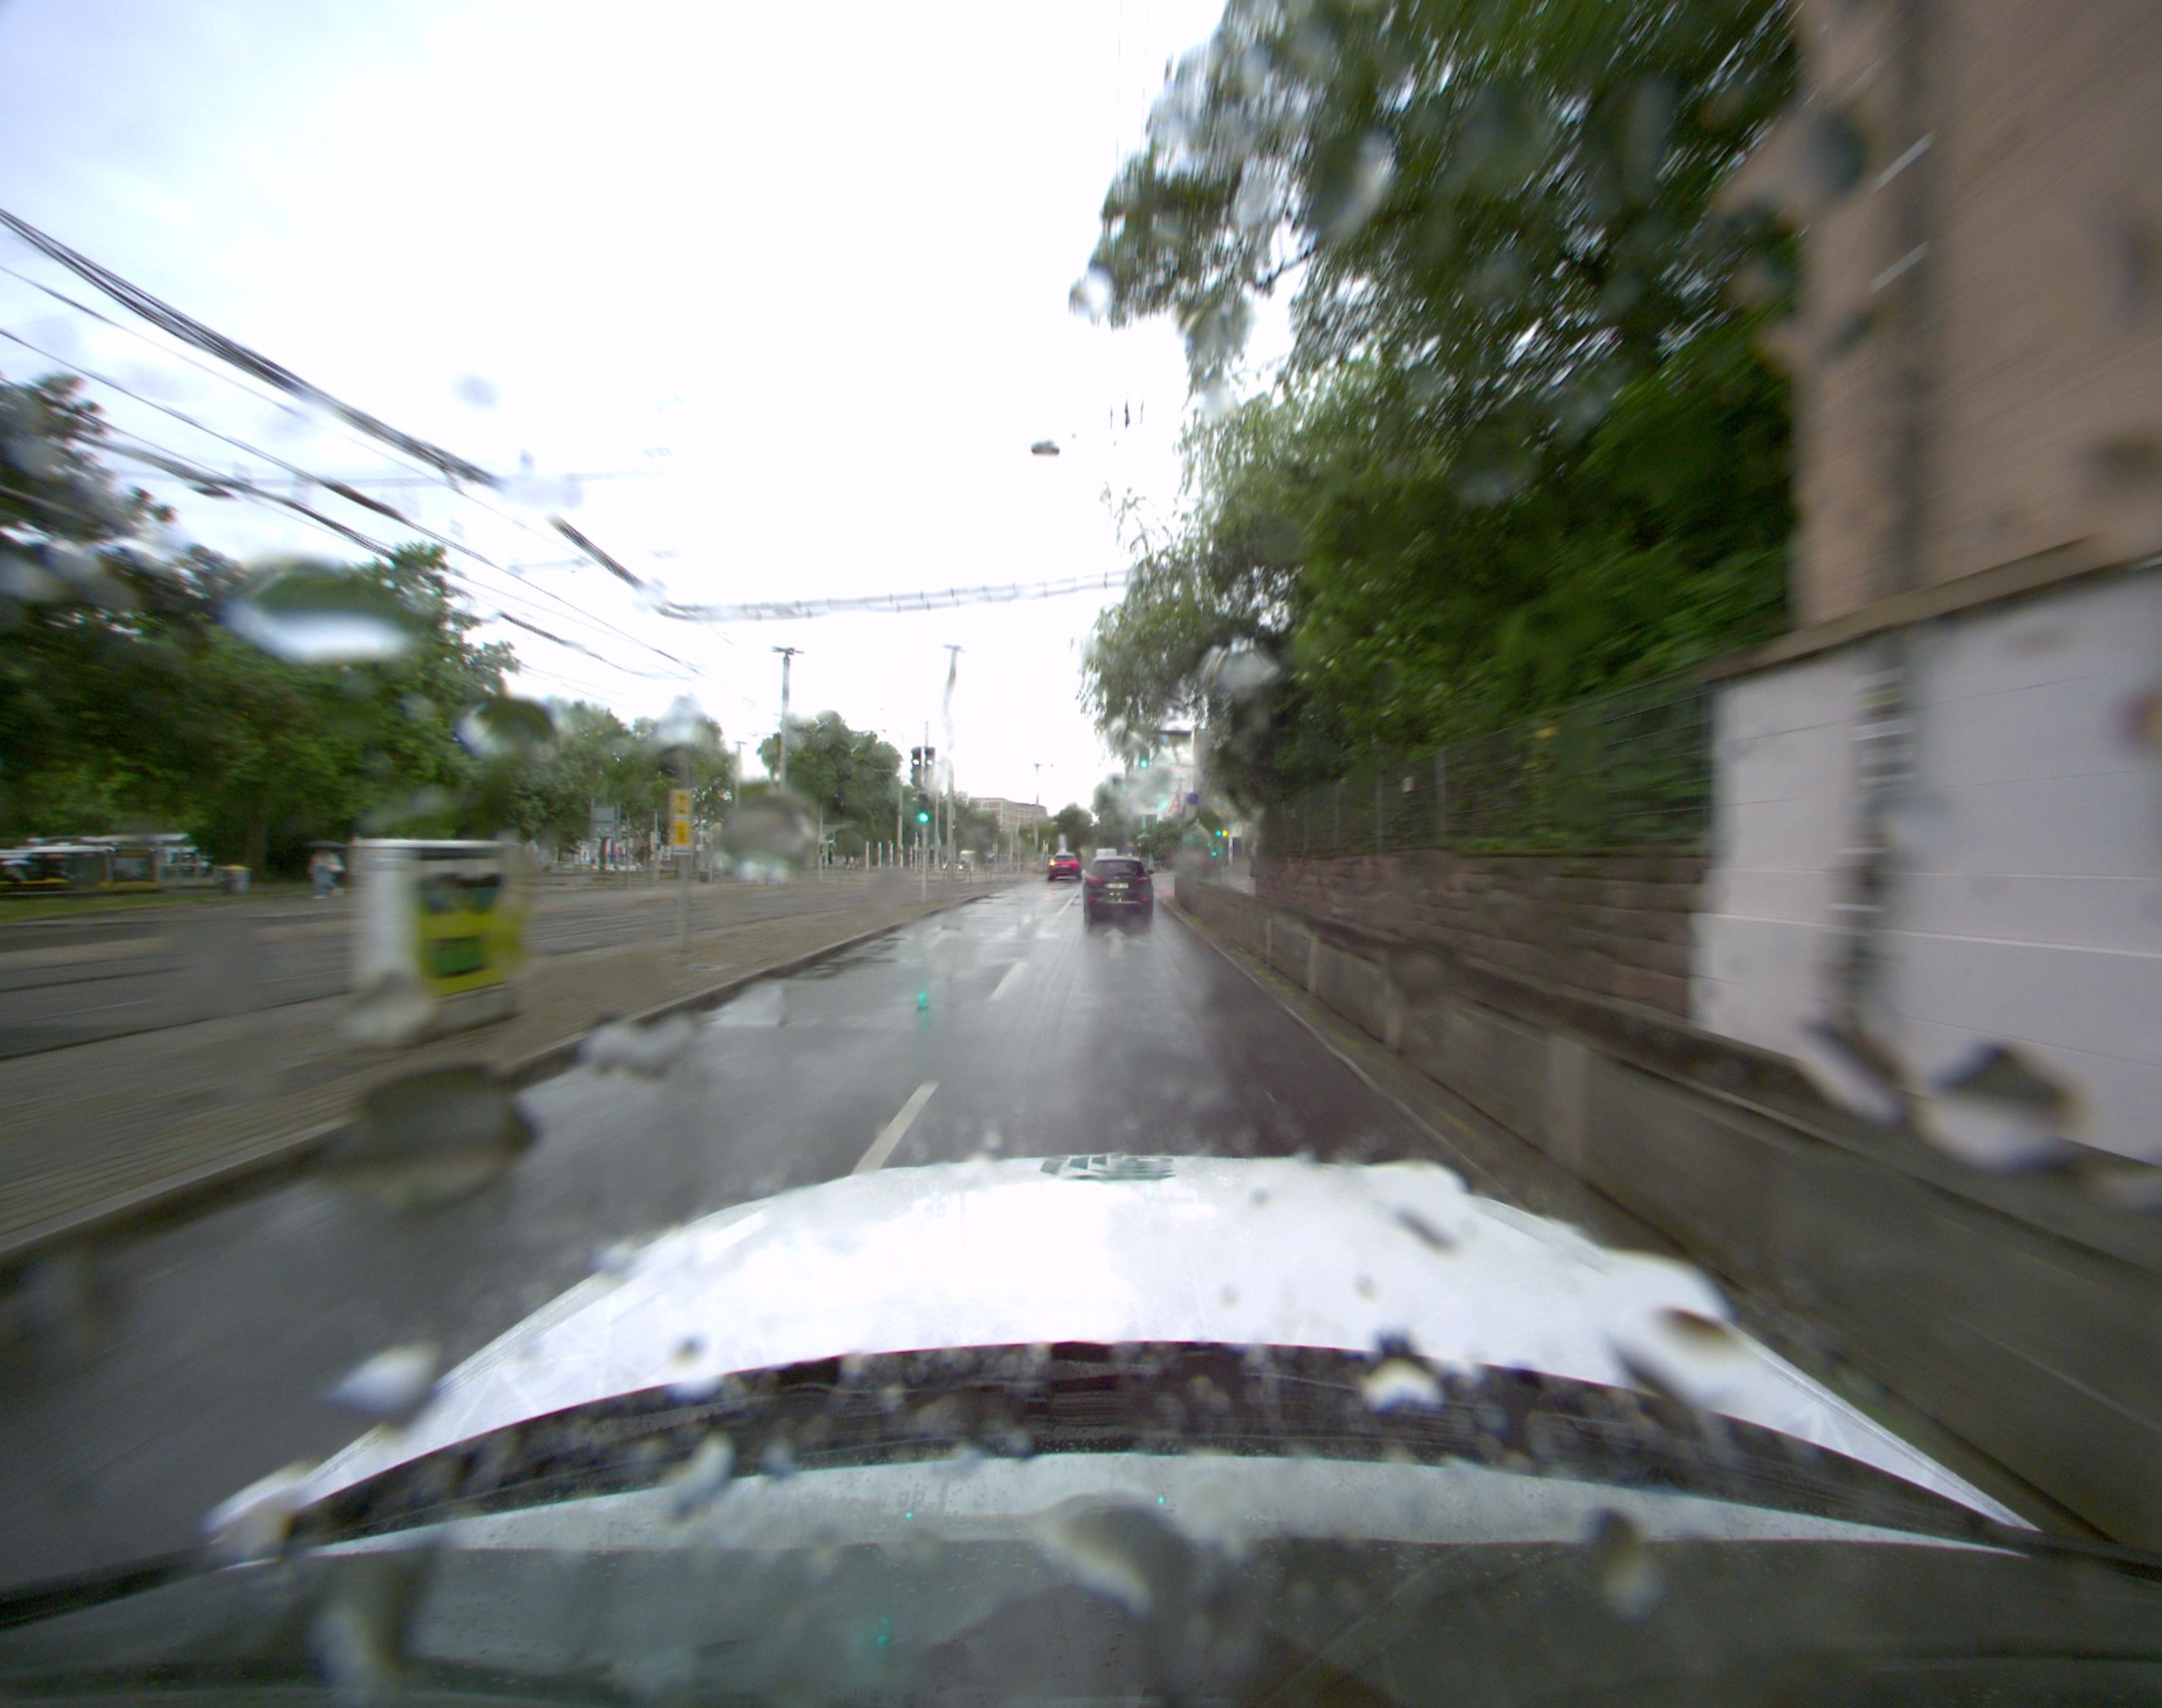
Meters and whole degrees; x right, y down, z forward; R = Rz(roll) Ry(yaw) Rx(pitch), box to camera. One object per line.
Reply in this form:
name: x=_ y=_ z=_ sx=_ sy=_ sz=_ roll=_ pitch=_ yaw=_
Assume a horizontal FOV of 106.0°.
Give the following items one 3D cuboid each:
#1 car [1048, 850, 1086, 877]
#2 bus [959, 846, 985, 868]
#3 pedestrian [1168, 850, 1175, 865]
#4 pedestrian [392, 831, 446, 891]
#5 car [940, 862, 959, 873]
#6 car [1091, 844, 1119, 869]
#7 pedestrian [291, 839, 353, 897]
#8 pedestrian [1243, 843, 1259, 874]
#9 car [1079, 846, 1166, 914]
car: x=-0.817 y=0.553 z=47.632 sx=2.092 sy=1.506 sz=4.730 roll=-1 pitch=-1 yaw=-1
bus: x=-17.174 y=0.533 z=129.399 sx=3.070 sy=3.301 sz=12.508 roll=-1 pitch=-1 yaw=-3
pedestrian: x=9.588 y=0.330 z=86.093 sx=0.537 sy=1.563 sz=0.524 roll=-1 pitch=-1 yaw=22
pedestrian: x=-21.493 y=0.225 z=26.443 sx=0.992 sy=1.863 sz=0.918 roll=2 pitch=-1 yaw=20
car: x=-20.113 y=2.094 z=125.009 sx=1.985 sy=1.646 sz=4.539 roll=-1 pitch=-1 yaw=3
car: x=1.903 y=0.198 z=63.497 sx=2.027 sy=1.840 sz=4.396 roll=0 pitch=0 yaw=4
pedestrian: x=-21.951 y=0.399 z=23.566 sx=0.991 sy=1.594 sz=0.918 roll=2 pitch=-1 yaw=23
pedestrian: x=9.414 y=0.241 z=45.068 sx=0.522 sy=1.712 sz=0.710 roll=-2 pitch=-1 yaw=40
car: x=1.057 y=0.614 z=21.494 sx=2.028 sy=1.584 sz=4.394 roll=0 pitch=0 yaw=2
